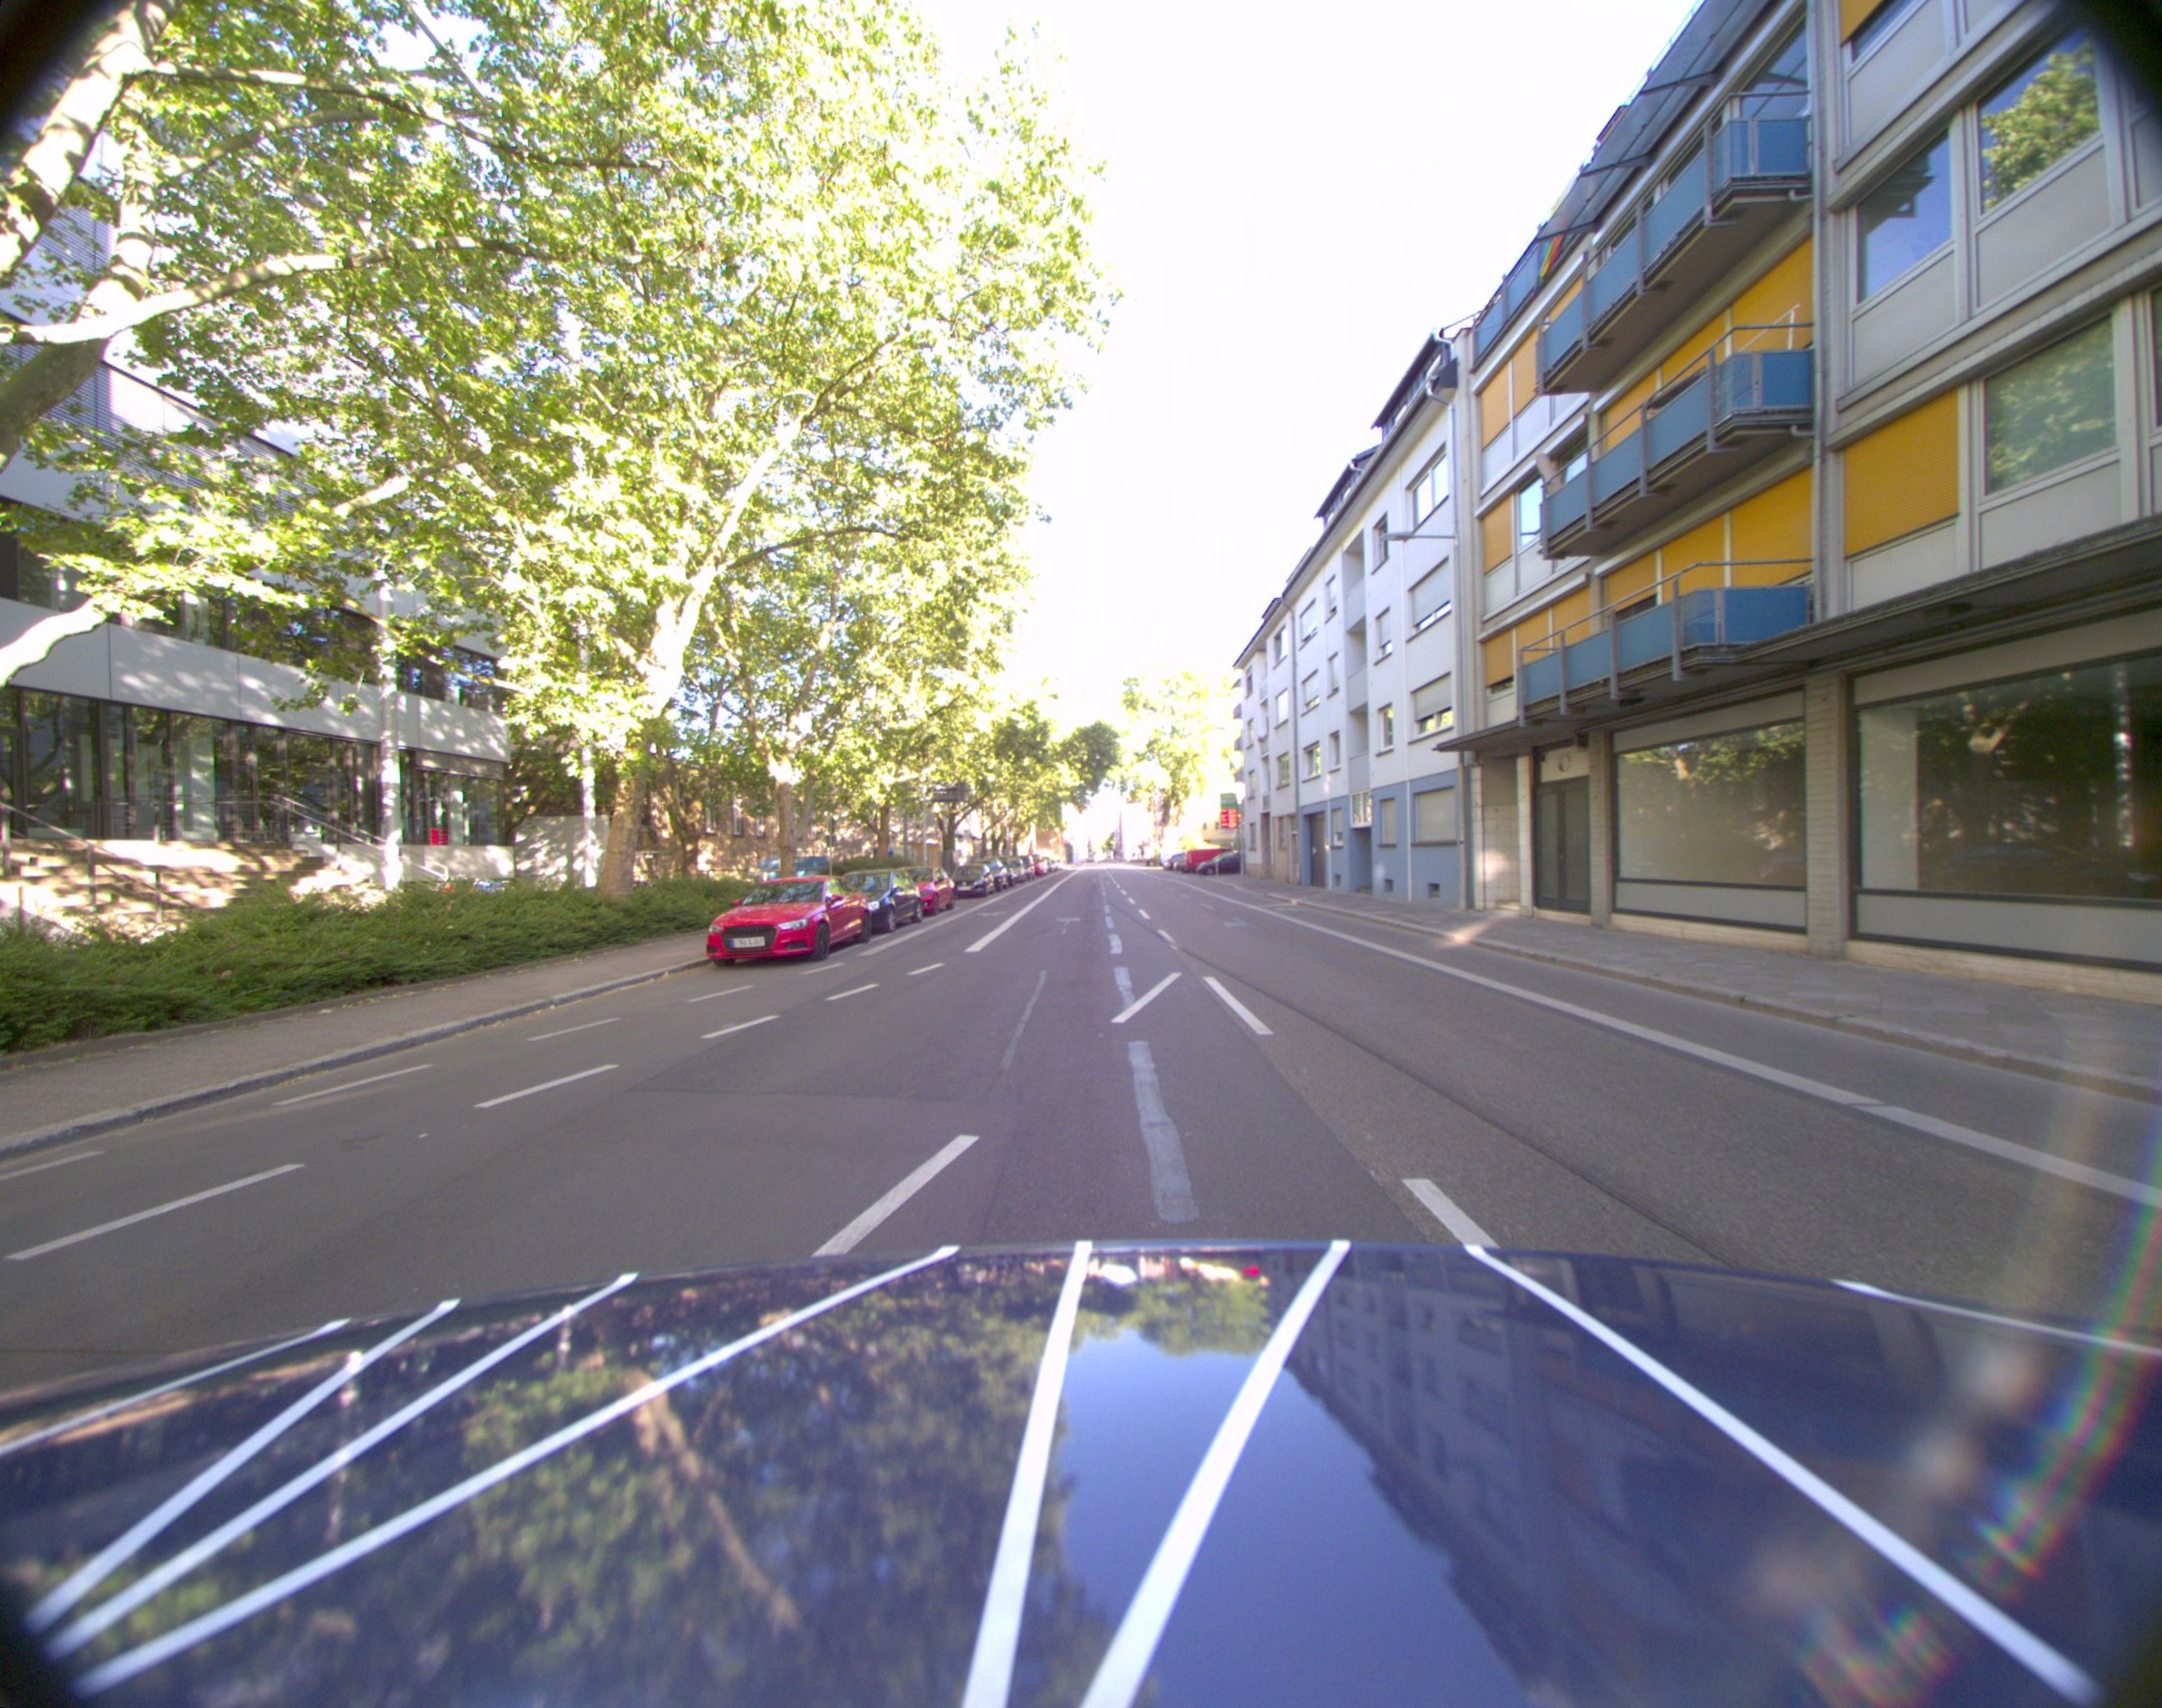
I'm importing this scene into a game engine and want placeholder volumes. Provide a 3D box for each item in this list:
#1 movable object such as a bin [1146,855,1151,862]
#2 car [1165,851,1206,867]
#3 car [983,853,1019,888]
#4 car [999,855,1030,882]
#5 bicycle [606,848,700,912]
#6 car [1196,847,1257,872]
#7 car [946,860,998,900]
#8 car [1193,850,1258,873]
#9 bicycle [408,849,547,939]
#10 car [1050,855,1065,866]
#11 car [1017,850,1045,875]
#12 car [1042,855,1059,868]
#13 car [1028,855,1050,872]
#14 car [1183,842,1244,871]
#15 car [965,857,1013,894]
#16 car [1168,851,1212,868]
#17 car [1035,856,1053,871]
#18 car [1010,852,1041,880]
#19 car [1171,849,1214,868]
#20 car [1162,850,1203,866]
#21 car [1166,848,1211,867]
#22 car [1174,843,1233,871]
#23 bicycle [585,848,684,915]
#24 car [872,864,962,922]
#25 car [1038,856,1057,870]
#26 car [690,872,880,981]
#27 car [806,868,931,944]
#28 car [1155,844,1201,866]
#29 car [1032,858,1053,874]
[{"bbox_3d":[10.258,0.739,115.400,0.595,1.065,0.644,-1,1,1],"label":"movable object such as a bin"},{"bbox_3d":[10.817,0.506,78.689,3.997,1.424,1.853,-3,0,1],"label":"car"},{"bbox_3d":[-4.691,0.901,44.236,1.830,1.830,4.896,-4,0,-7],"label":"car"},{"bbox_3d":[-4.394,0.952,50.894,1.697,1.618,4.329,-4,0,-1],"label":"car"},{"bbox_3d":[-13.949,0.834,24.788,2.604,2.002,0.742,-1,1,1],"label":"bicycle"},{"bbox_3d":[10.897,0.405,57.075,4.183,1.554,1.886,-4,0,1],"label":"car"},{"bbox_3d":[-4.702,1.091,33.271,1.697,1.495,4.019,-4,0,-1],"label":"car"},{"bbox_3d":[10.401,0.547,54.919,4.239,1.372,2.046,-3,1,1],"label":"car"},{"bbox_3d":[-14.005,0.913,17.686,2.604,2.002,0.742,-1,1,1],"label":"bicycle"},{"bbox_3d":[-3.218,0.829,103.459,1.860,1.428,4.969,-2,0,-2],"label":"car"},{"bbox_3d":[-4.320,0.696,66.768,2.083,1.982,5.171,-3,0,-1],"label":"car"},{"bbox_3d":[-3.673,0.900,92.528,1.860,1.514,4.297,-3,0,0],"label":"car"},{"bbox_3d":[-3.929,0.881,71.665,1.641,1.476,3.760,-4,0,3],"label":"car"},{"bbox_3d":[10.443,0.186,60.155,4.432,1.940,2.146,-4,0,1],"label":"car"},{"bbox_3d":[-4.560,1.011,38.305,1.780,1.618,4.620,-4,0,0],"label":"car"},{"bbox_3d":[10.470,0.507,73.238,3.997,1.447,1.916,-3,0,1],"label":"car"},{"bbox_3d":[-3.931,1.003,80.640,1.617,1.466,3.493,-4,0,0],"label":"car"},{"bbox_3d":[-3.989,0.844,55.423,1.697,1.802,4.130,-4,0,3],"label":"car"},{"bbox_3d":[10.404,0.387,71.049,3.694,1.504,1.831,-4,0,1],"label":"car"},{"bbox_3d":[10.765,0.433,80.815,3.997,1.550,1.853,-3,0,1],"label":"car"},{"bbox_3d":[10.716,0.375,76.156,4.204,1.674,2.028,-3,0,1],"label":"car"},{"bbox_3d":[10.091,0.238,62.918,4.533,1.940,2.057,-4,0,1],"label":"car"},{"bbox_3d":[-14.000,0.847,23.859,2.604,2.002,0.742,-1,1,1],"label":"bicycle"},{"bbox_3d":[-4.988,1.152,23.763,1.697,1.470,4.318,-4,0,1],"label":"car"},{"bbox_3d":[-3.810,0.995,86.423,1.860,1.513,4.599,-3,0,0],"label":"car"},{"bbox_3d":[-5.117,1.159,13.836,1.697,1.441,4.435,-4,0,-1],"label":"car"},{"bbox_3d":[-5.035,1.164,18.574,1.697,1.458,4.066,-4,0,2],"label":"car"},{"bbox_3d":[10.876,0.112,85.373,4.856,2.204,2.140,-3,0,1],"label":"car"},{"bbox_3d":[-3.862,1.168,76.122,1.860,1.502,3.928,-4,0,-1],"label":"car"}]
